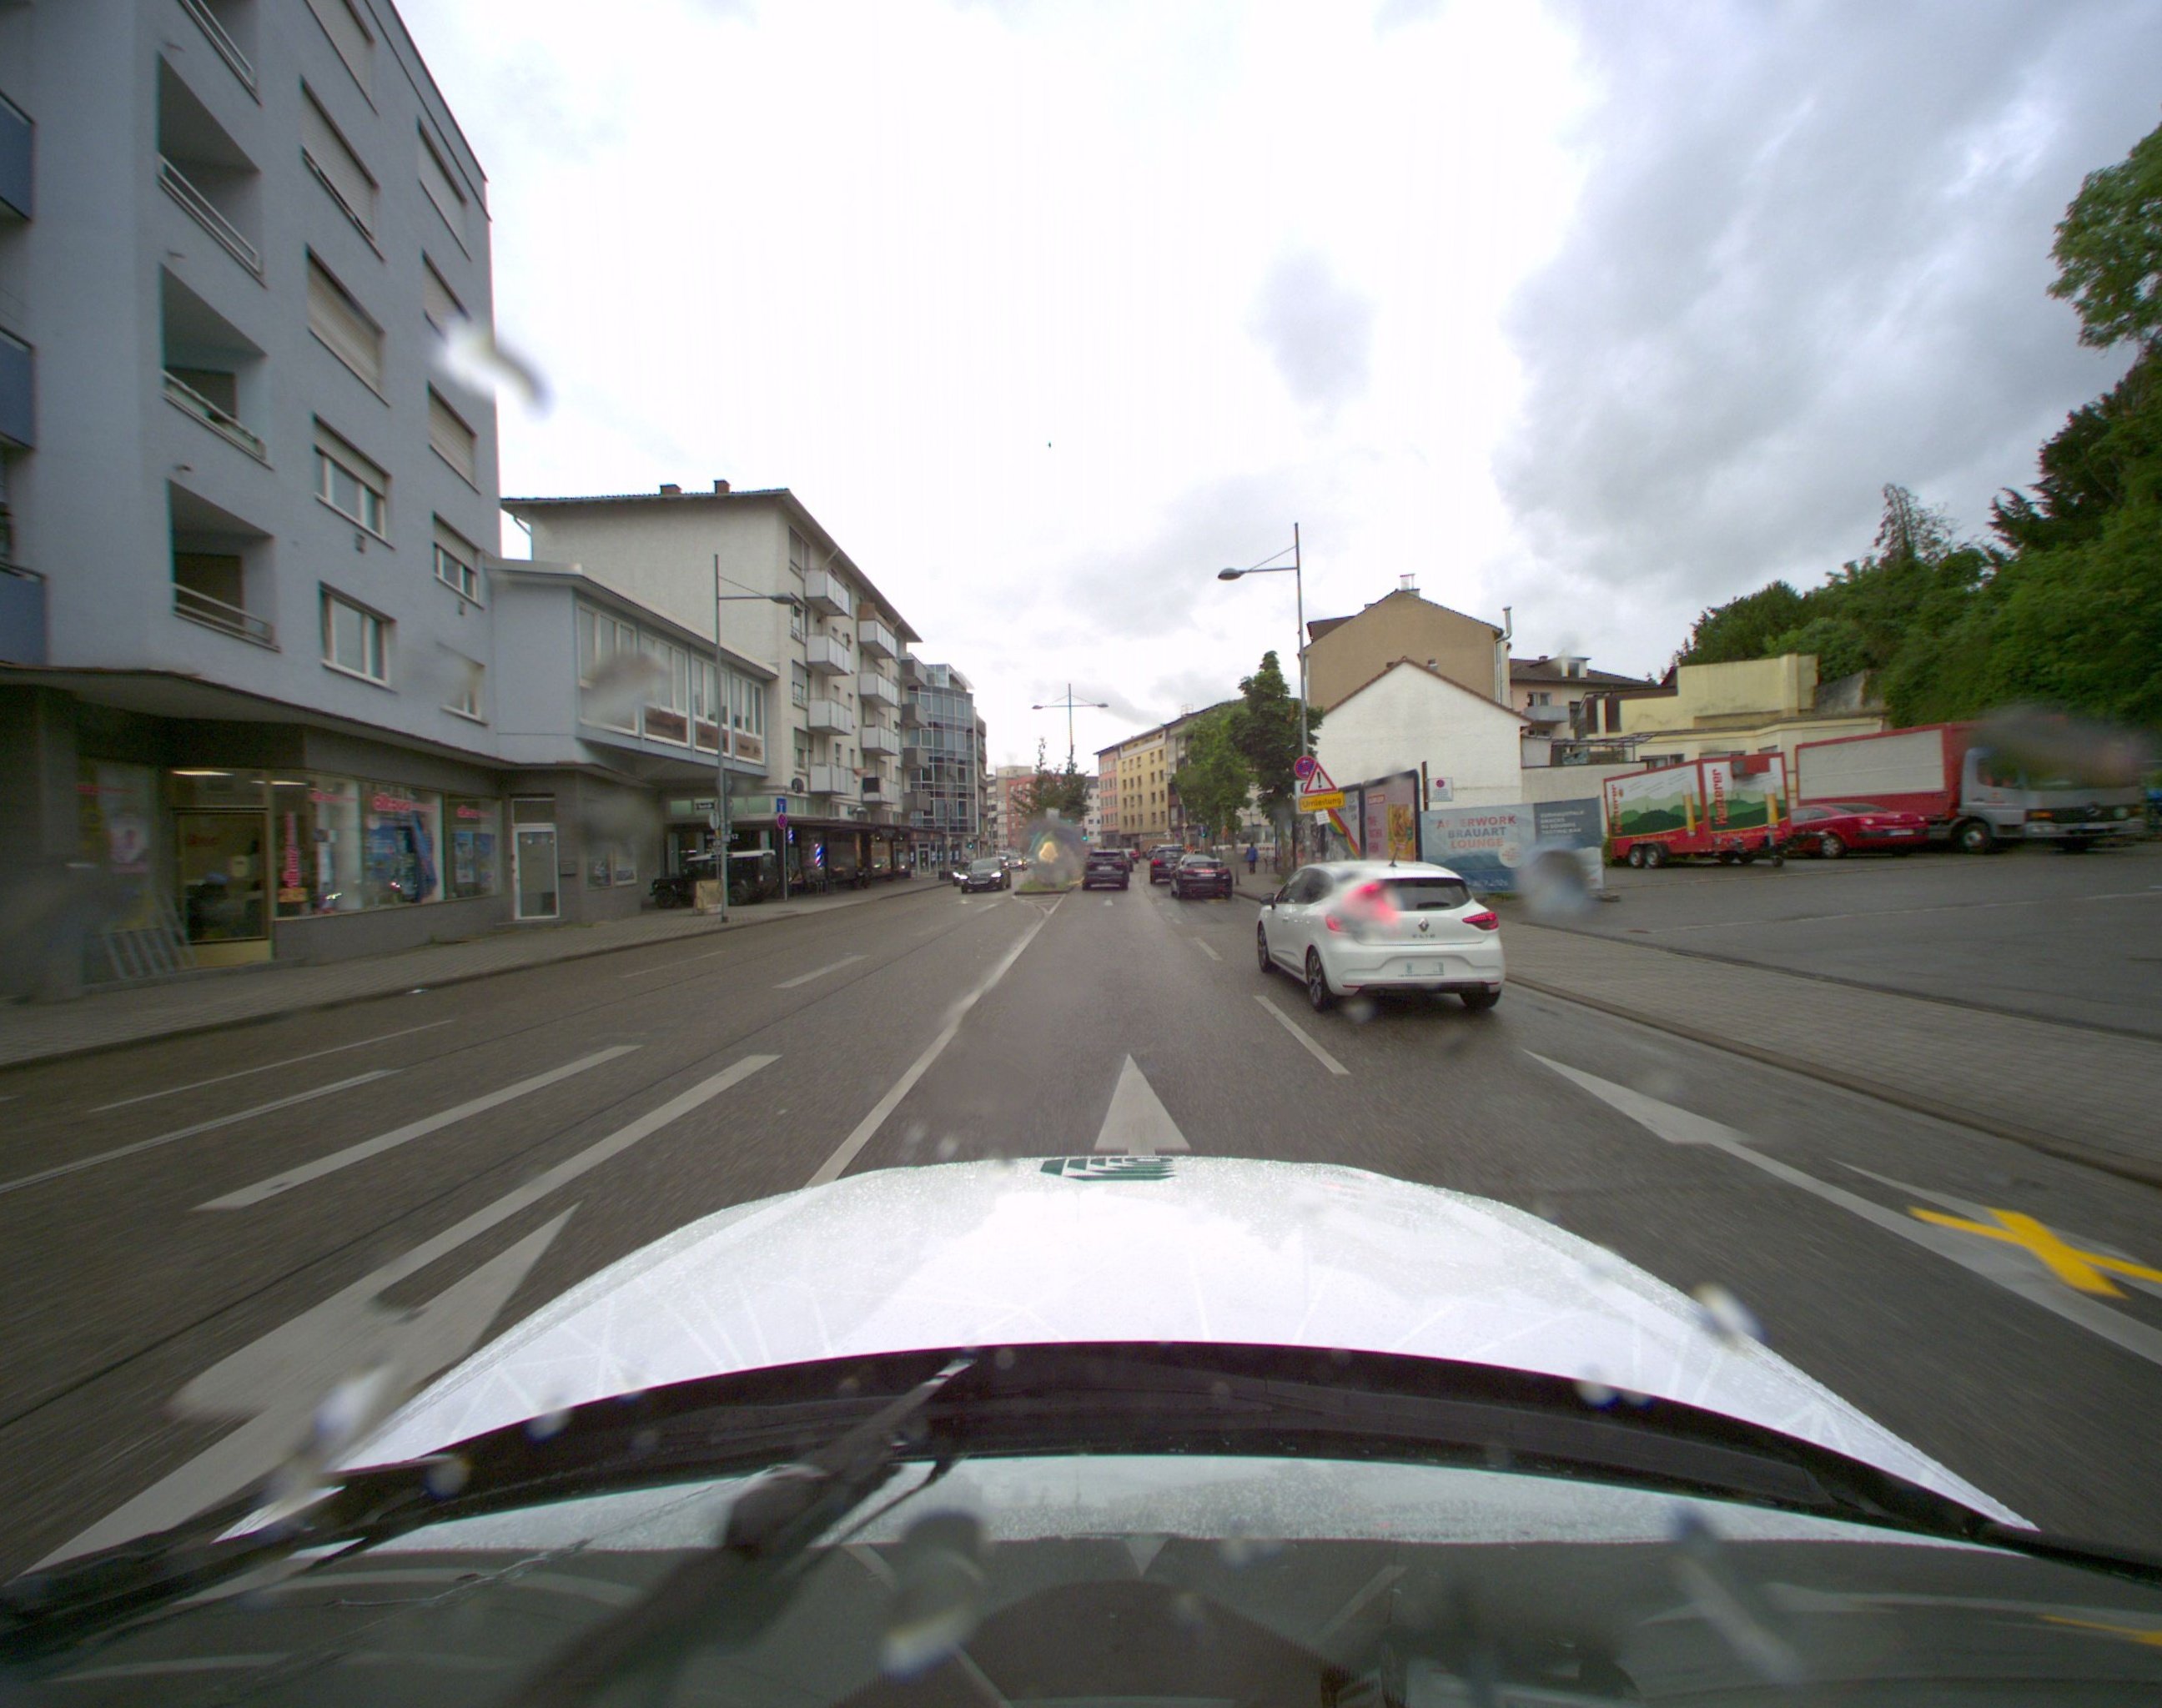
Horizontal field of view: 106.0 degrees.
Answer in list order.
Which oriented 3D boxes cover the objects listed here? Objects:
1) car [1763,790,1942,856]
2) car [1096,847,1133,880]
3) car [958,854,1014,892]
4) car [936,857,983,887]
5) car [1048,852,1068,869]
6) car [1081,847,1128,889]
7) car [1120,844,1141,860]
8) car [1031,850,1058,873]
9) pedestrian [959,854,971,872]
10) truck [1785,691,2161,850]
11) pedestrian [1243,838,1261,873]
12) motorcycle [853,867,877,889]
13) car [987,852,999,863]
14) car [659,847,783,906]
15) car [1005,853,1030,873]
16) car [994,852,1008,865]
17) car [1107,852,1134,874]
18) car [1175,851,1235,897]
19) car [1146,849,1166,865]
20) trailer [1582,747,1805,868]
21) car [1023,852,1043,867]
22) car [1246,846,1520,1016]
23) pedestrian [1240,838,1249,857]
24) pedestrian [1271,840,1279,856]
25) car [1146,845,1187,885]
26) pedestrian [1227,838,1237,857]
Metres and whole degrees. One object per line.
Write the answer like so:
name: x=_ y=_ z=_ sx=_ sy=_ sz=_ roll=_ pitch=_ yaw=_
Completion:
car: x=19.391 y=-0.731 z=20.656 sx=1.582 sy=1.456 sz=3.270 roll=-3 pitch=0 yaw=6
car: x=1.744 y=0.458 z=42.060 sx=1.816 sy=1.600 sz=3.721 roll=0 pitch=0 yaw=2
car: x=-4.117 y=0.791 z=35.946 sx=1.714 sy=1.423 sz=4.167 roll=-4 pitch=0 yaw=2
car: x=-6.953 y=0.974 z=47.068 sx=1.701 sy=1.467 sz=4.832 roll=-4 pitch=0 yaw=2
car: x=-2.149 y=0.548 z=75.654 sx=1.527 sy=1.412 sz=3.939 roll=-4 pitch=0 yaw=2
car: x=0.979 y=0.531 z=33.184 sx=1.816 sy=1.600 sz=3.721 roll=0 pitch=0 yaw=2
car: x=4.559 y=-0.188 z=75.314 sx=1.635 sy=1.381 sz=3.348 roll=-3 pitch=0 yaw=1
car: x=-2.810 y=0.562 z=63.434 sx=1.677 sy=1.661 sz=4.099 roll=-4 pitch=0 yaw=2
pedestrian: x=-10.574 y=0.809 z=74.167 sx=0.786 sy=1.591 sz=0.755 roll=-3 pitch=0 yaw=-35
truck: x=22.113 y=-1.794 z=20.819 sx=2.618 sy=3.215 sz=6.941 roll=-4 pitch=0 yaw=6
pedestrian: x=8.964 y=0.079 z=42.777 sx=0.785 sy=1.755 sz=0.875 roll=-3 pitch=0 yaw=15
motorcycle: x=-10.835 y=1.192 z=40.965 sx=0.523 sy=0.995 sz=2.138 roll=0 pitch=0 yaw=3
car: x=-11.815 y=0.431 z=109.275 sx=1.455 sy=1.430 sz=3.359 roll=0 pitch=1 yaw=-9
car: x=-13.709 y=0.837 z=31.110 sx=3.944 sy=2.034 sz=1.583 roll=-2 pitch=0 yaw=5
car: x=-5.514 y=0.725 z=71.014 sx=1.626 sy=1.591 sz=3.938 roll=-4 pitch=0 yaw=2
car: x=-9.549 y=0.553 z=96.936 sx=1.548 sy=1.570 sz=3.340 roll=0 pitch=0 yaw=-7
car: x=2.692 y=0.585 z=56.053 sx=1.635 sy=1.381 sz=3.348 roll=-3 pitch=0 yaw=1
car: x=4.117 y=0.628 z=27.422 sx=1.778 sy=1.400 sz=3.724 roll=-1 pitch=0 yaw=6
car: x=8.236 y=0.328 z=89.324 sx=1.704 sy=1.611 sz=3.725 roll=0 pitch=1 yaw=-2
trailer: x=16.223 y=-1.154 z=22.059 sx=2.117 sy=2.716 sz=5.397 roll=-4 pitch=1 yaw=4
car: x=-4.958 y=0.581 z=84.318 sx=1.626 sy=1.408 sz=3.438 roll=-4 pitch=0 yaw=2
car: x=3.055 y=0.664 z=9.101 sx=1.659 sy=1.396 sz=3.868 roll=-2 pitch=1 yaw=1
pedestrian: x=17.768 y=-0.679 z=88.632 sx=0.814 sy=2.013 sz=0.844 roll=0 pitch=1 yaw=24
pedestrian: x=21.677 y=-0.682 z=90.930 sx=0.531 sy=1.769 sz=0.617 roll=0 pitch=1 yaw=-28
car: x=4.027 y=0.478 z=38.872 sx=1.822 sy=1.805 sz=3.723 roll=0 pitch=1 yaw=4
pedestrian: x=16.516 y=-0.714 z=89.191 sx=0.823 sy=2.013 sz=0.835 roll=0 pitch=1 yaw=-17
